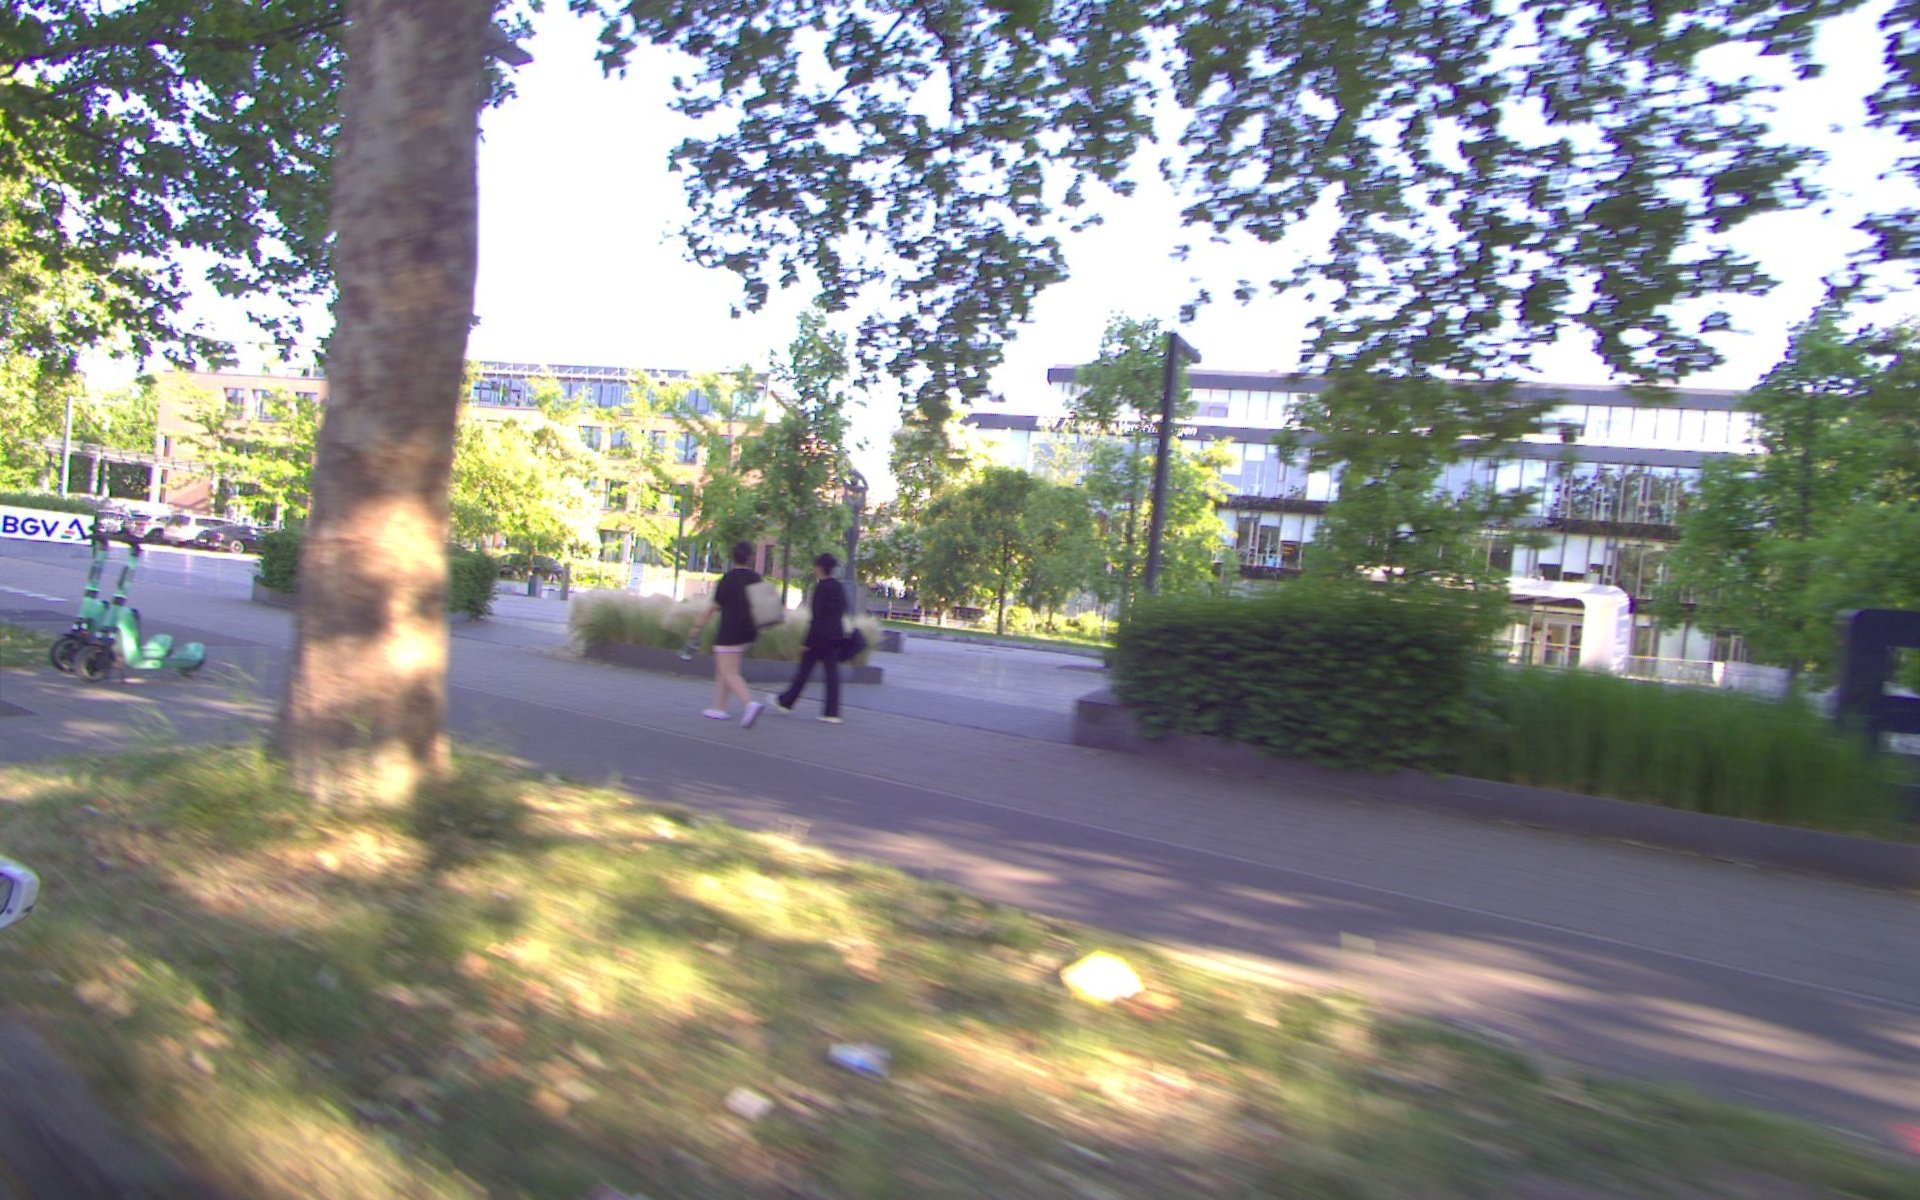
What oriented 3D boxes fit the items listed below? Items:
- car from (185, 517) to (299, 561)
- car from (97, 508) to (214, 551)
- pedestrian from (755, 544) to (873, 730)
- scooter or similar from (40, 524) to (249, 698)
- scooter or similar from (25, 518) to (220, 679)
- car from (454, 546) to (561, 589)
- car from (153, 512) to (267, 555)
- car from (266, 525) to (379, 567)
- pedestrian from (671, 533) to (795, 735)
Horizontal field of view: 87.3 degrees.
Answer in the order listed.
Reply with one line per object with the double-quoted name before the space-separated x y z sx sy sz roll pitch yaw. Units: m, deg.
"car" -36.589 -3.084 51.421 1.813 1.736 4.686 6 1 11
"car" -42.236 -3.671 52.978 1.813 1.736 4.686 6 1 11
"pedestrian" -1.406 0.344 9.729 0.770 1.678 0.650 6 2 31
"scooter or similar" -6.525 0.090 8.075 0.828 1.260 1.052 6 1 34
"scooter or similar" -7.191 0.001 8.661 0.828 1.260 1.052 6 1 34
"car" -21.026 -1.476 46.965 2.033 1.503 4.688 6 0 13
"car" -39.151 -3.444 52.680 1.813 1.736 4.686 6 1 11
"car" -32.305 -2.704 51.166 2.033 1.618 4.686 6 1 13
"pedestrian" -2.015 0.292 8.955 0.727 1.678 0.628 6 2 31
